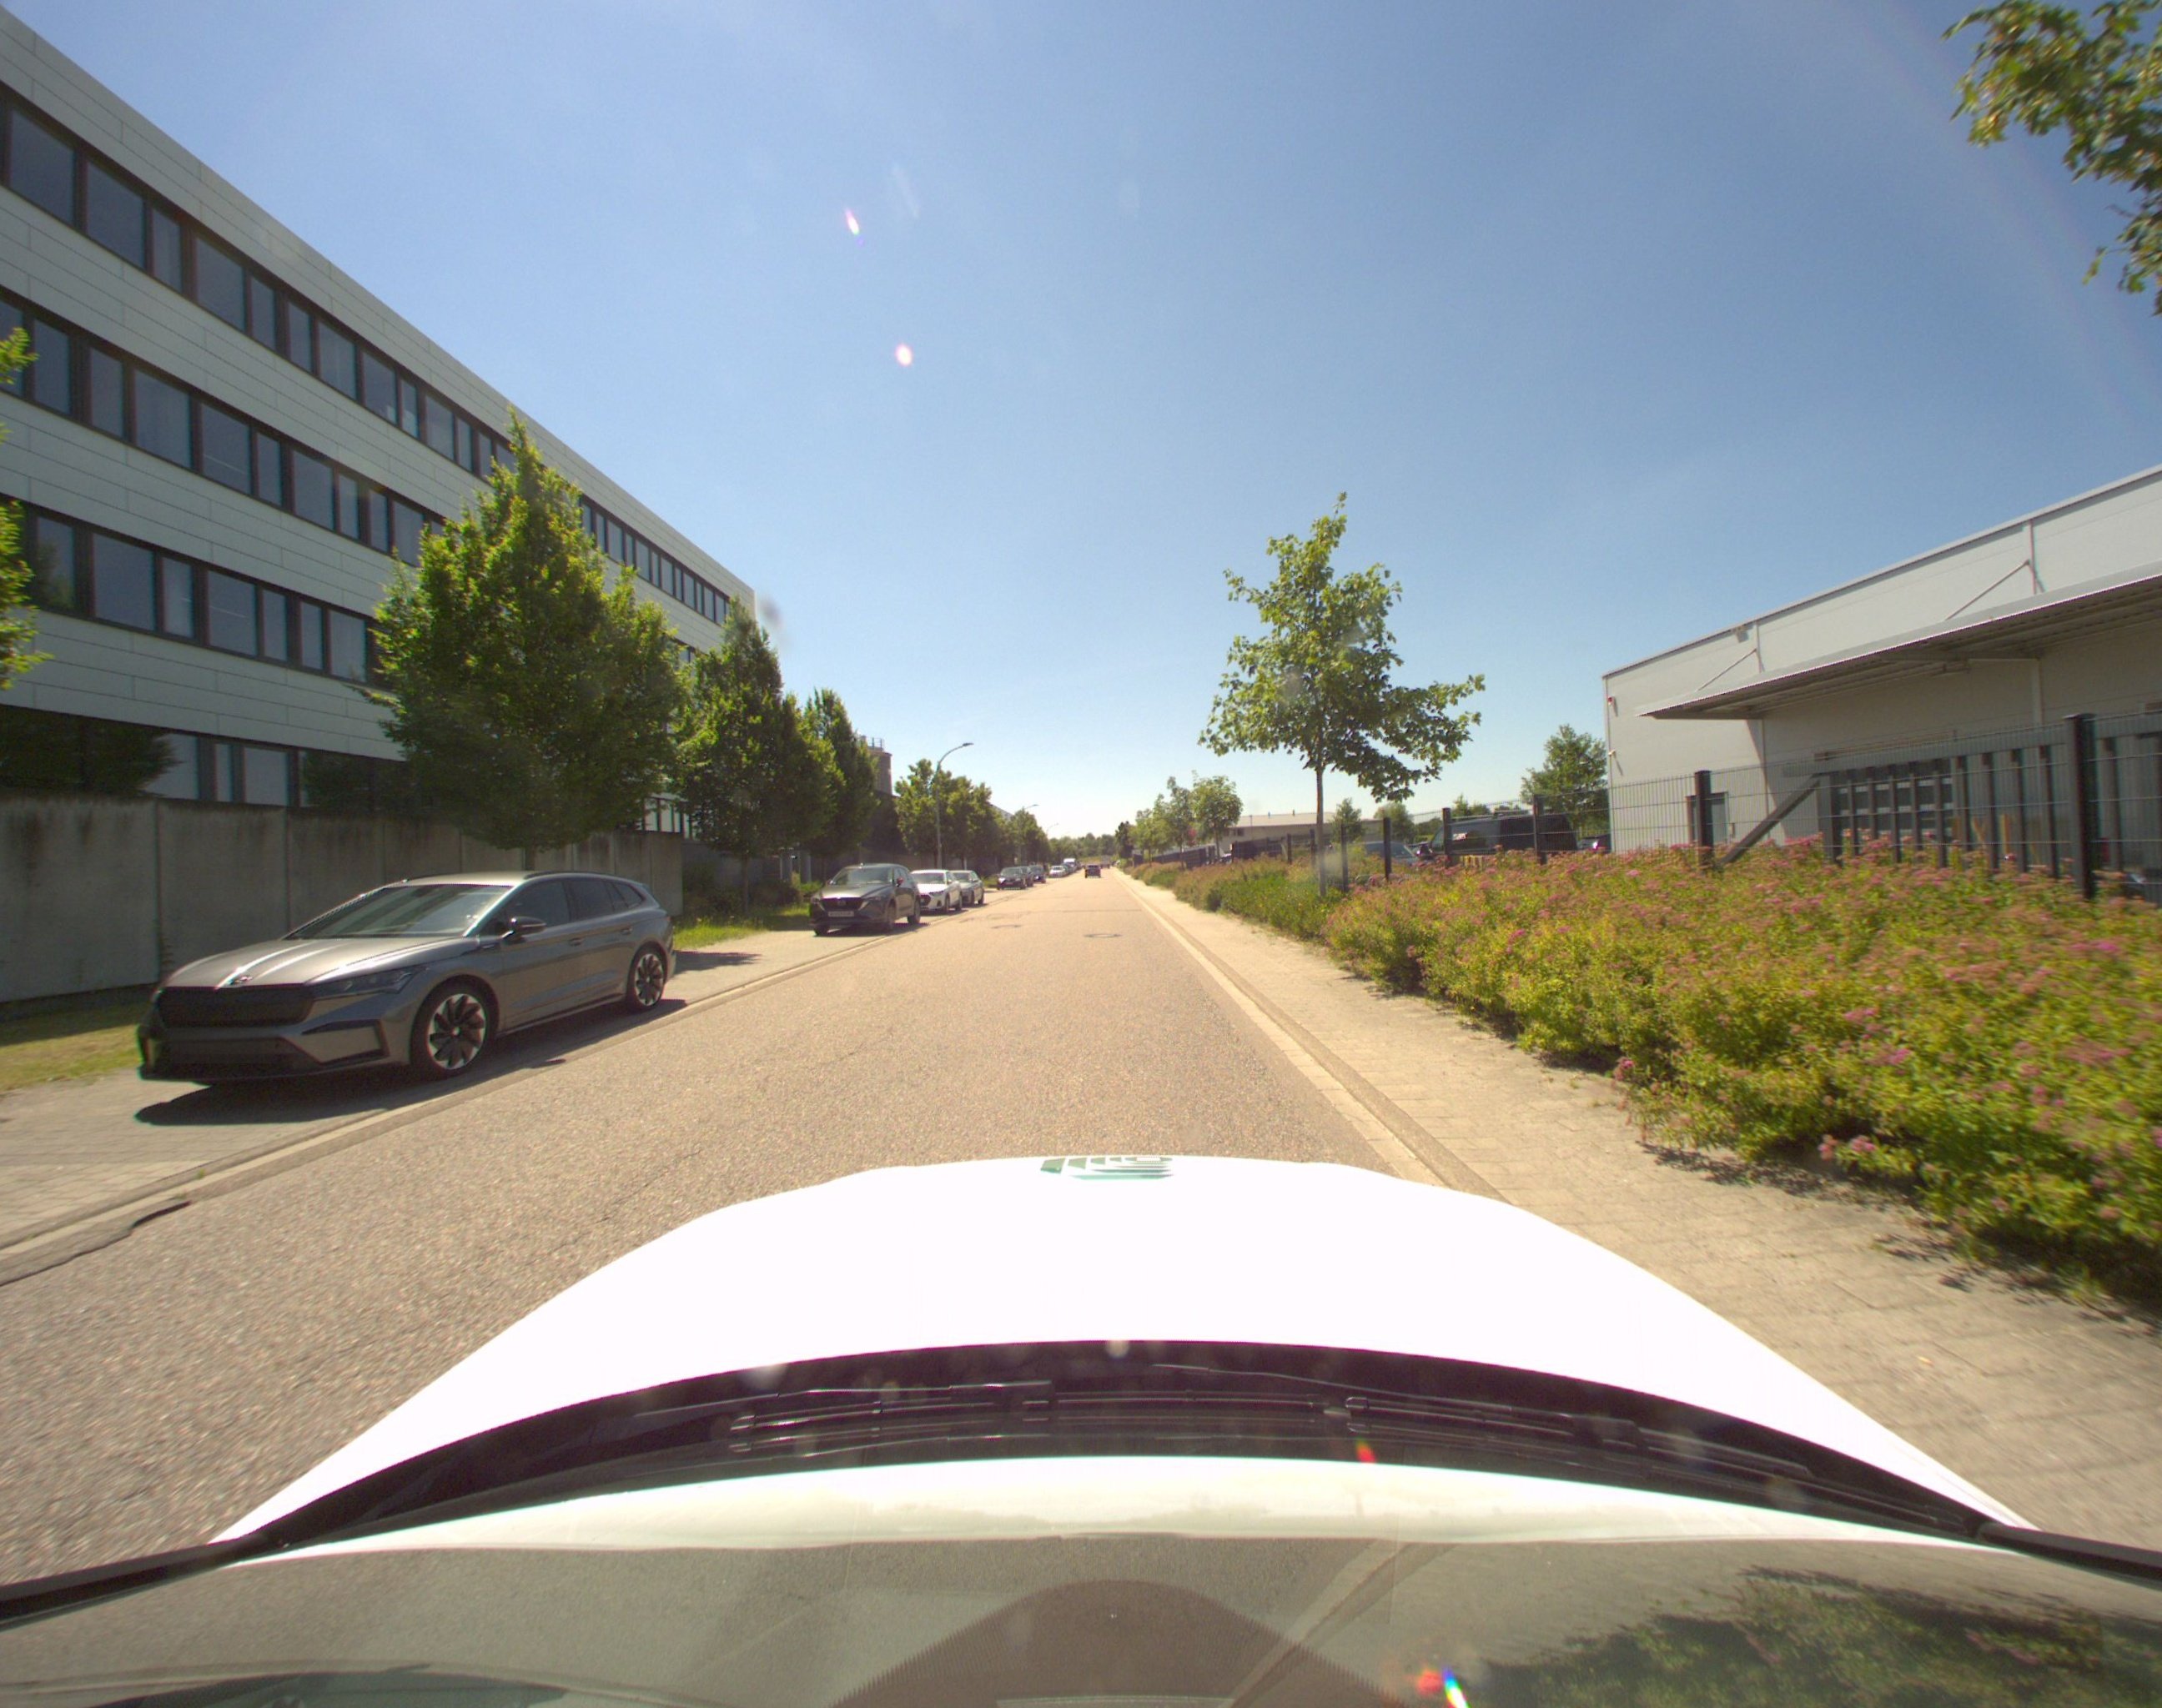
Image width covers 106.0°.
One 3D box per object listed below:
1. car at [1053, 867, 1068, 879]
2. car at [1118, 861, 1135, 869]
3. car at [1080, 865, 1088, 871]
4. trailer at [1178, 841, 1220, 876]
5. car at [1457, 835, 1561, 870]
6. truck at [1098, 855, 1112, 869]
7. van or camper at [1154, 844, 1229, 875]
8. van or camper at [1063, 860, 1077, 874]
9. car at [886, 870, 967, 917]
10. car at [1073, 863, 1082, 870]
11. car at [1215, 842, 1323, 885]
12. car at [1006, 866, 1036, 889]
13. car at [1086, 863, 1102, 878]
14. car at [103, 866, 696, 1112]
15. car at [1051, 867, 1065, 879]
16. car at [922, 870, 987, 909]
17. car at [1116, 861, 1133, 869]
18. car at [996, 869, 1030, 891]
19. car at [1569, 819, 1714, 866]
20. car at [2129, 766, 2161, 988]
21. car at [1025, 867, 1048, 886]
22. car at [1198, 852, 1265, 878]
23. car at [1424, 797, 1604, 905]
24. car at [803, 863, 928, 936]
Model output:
[{"bbox_3d":[-2.784,2.560,110.781,1.792,1.476,4.556,-2,-1,2],"label":"car"},{"bbox_3d":[10.804,2.566,193.098,3.864,1.750,1.751,0,-1,-1],"label":"car"},{"bbox_3d":[0.835,3.781,224.513,1.791,1.487,4.256,-2,0,3],"label":"car"},{"bbox_3d":[8.940,0.341,61.815,2.816,2.403,1.418,-4,-1,-3],"label":"trailer"},{"bbox_3d":[20.451,-0.043,39.034,3.974,1.403,1.818,-3,-1,0],"label":"car"},{"bbox_3d":[5.260,1.729,178.001,2.922,2.974,6.421,0,-1,2],"label":"truck"},{"bbox_3d":[10.549,0.562,78.178,6.734,2.585,2.635,-3,-1,0],"label":"van or camper"},{"bbox_3d":[-1.978,2.355,147.003,2.069,2.483,6.136,0,-1,4],"label":"van or camper"},{"bbox_3d":[-5.127,1.284,27.631,1.764,1.431,4.203,-1,-1,2],"label":"car"},{"bbox_3d":[-0.790,2.677,179.691,1.791,1.487,4.256,-2,0,3],"label":"car"},{"bbox_3d":[9.666,0.496,42.207,5.097,1.874,1.903,-4,-1,0],"label":"car"},{"bbox_3d":[-4.471,1.762,61.120,1.765,1.611,4.851,-2,-1,0],"label":"car"},{"bbox_3d":[1.478,1.865,93.026,1.783,1.623,3.809,0,-1,1],"label":"car"},{"bbox_3d":[-5.682,0.949,7.754,1.764,1.588,4.482,-2,-1,1],"label":"car"},{"bbox_3d":[-2.988,2.476,105.521,1.715,1.476,3.855,-2,-1,-1],"label":"car"},{"bbox_3d":[-4.950,1.360,32.371,1.764,1.431,3.942,-1,-1,2],"label":"car"},{"bbox_3d":[10.428,2.609,195.651,3.864,1.750,1.751,0,-1,-1],"label":"car"},{"bbox_3d":[-4.571,1.722,55.306,1.764,1.431,4.203,-1,-1,2],"label":"car"},{"bbox_3d":[20.452,-0.395,29.848,3.974,1.486,1.850,-3,-1,0],"label":"car"},{"bbox_3d":[8.388,0.124,4.023,1.803,1.552,3.578,-4,0,1],"label":"car"},{"bbox_3d":[-3.944,1.960,73.343,1.765,1.611,4.247,-2,-1,0],"label":"car"},{"bbox_3d":[9.828,0.717,53.399,3.974,1.522,1.822,-3,-1,0],"label":"car"},{"bbox_3d":[9.753,-0.045,18.808,1.870,2.087,4.226,-4,-1,1],"label":"car"},{"bbox_3d":[-5.295,1.051,20.648,1.764,1.624,4.584,-1,-1,2],"label":"car"}]
